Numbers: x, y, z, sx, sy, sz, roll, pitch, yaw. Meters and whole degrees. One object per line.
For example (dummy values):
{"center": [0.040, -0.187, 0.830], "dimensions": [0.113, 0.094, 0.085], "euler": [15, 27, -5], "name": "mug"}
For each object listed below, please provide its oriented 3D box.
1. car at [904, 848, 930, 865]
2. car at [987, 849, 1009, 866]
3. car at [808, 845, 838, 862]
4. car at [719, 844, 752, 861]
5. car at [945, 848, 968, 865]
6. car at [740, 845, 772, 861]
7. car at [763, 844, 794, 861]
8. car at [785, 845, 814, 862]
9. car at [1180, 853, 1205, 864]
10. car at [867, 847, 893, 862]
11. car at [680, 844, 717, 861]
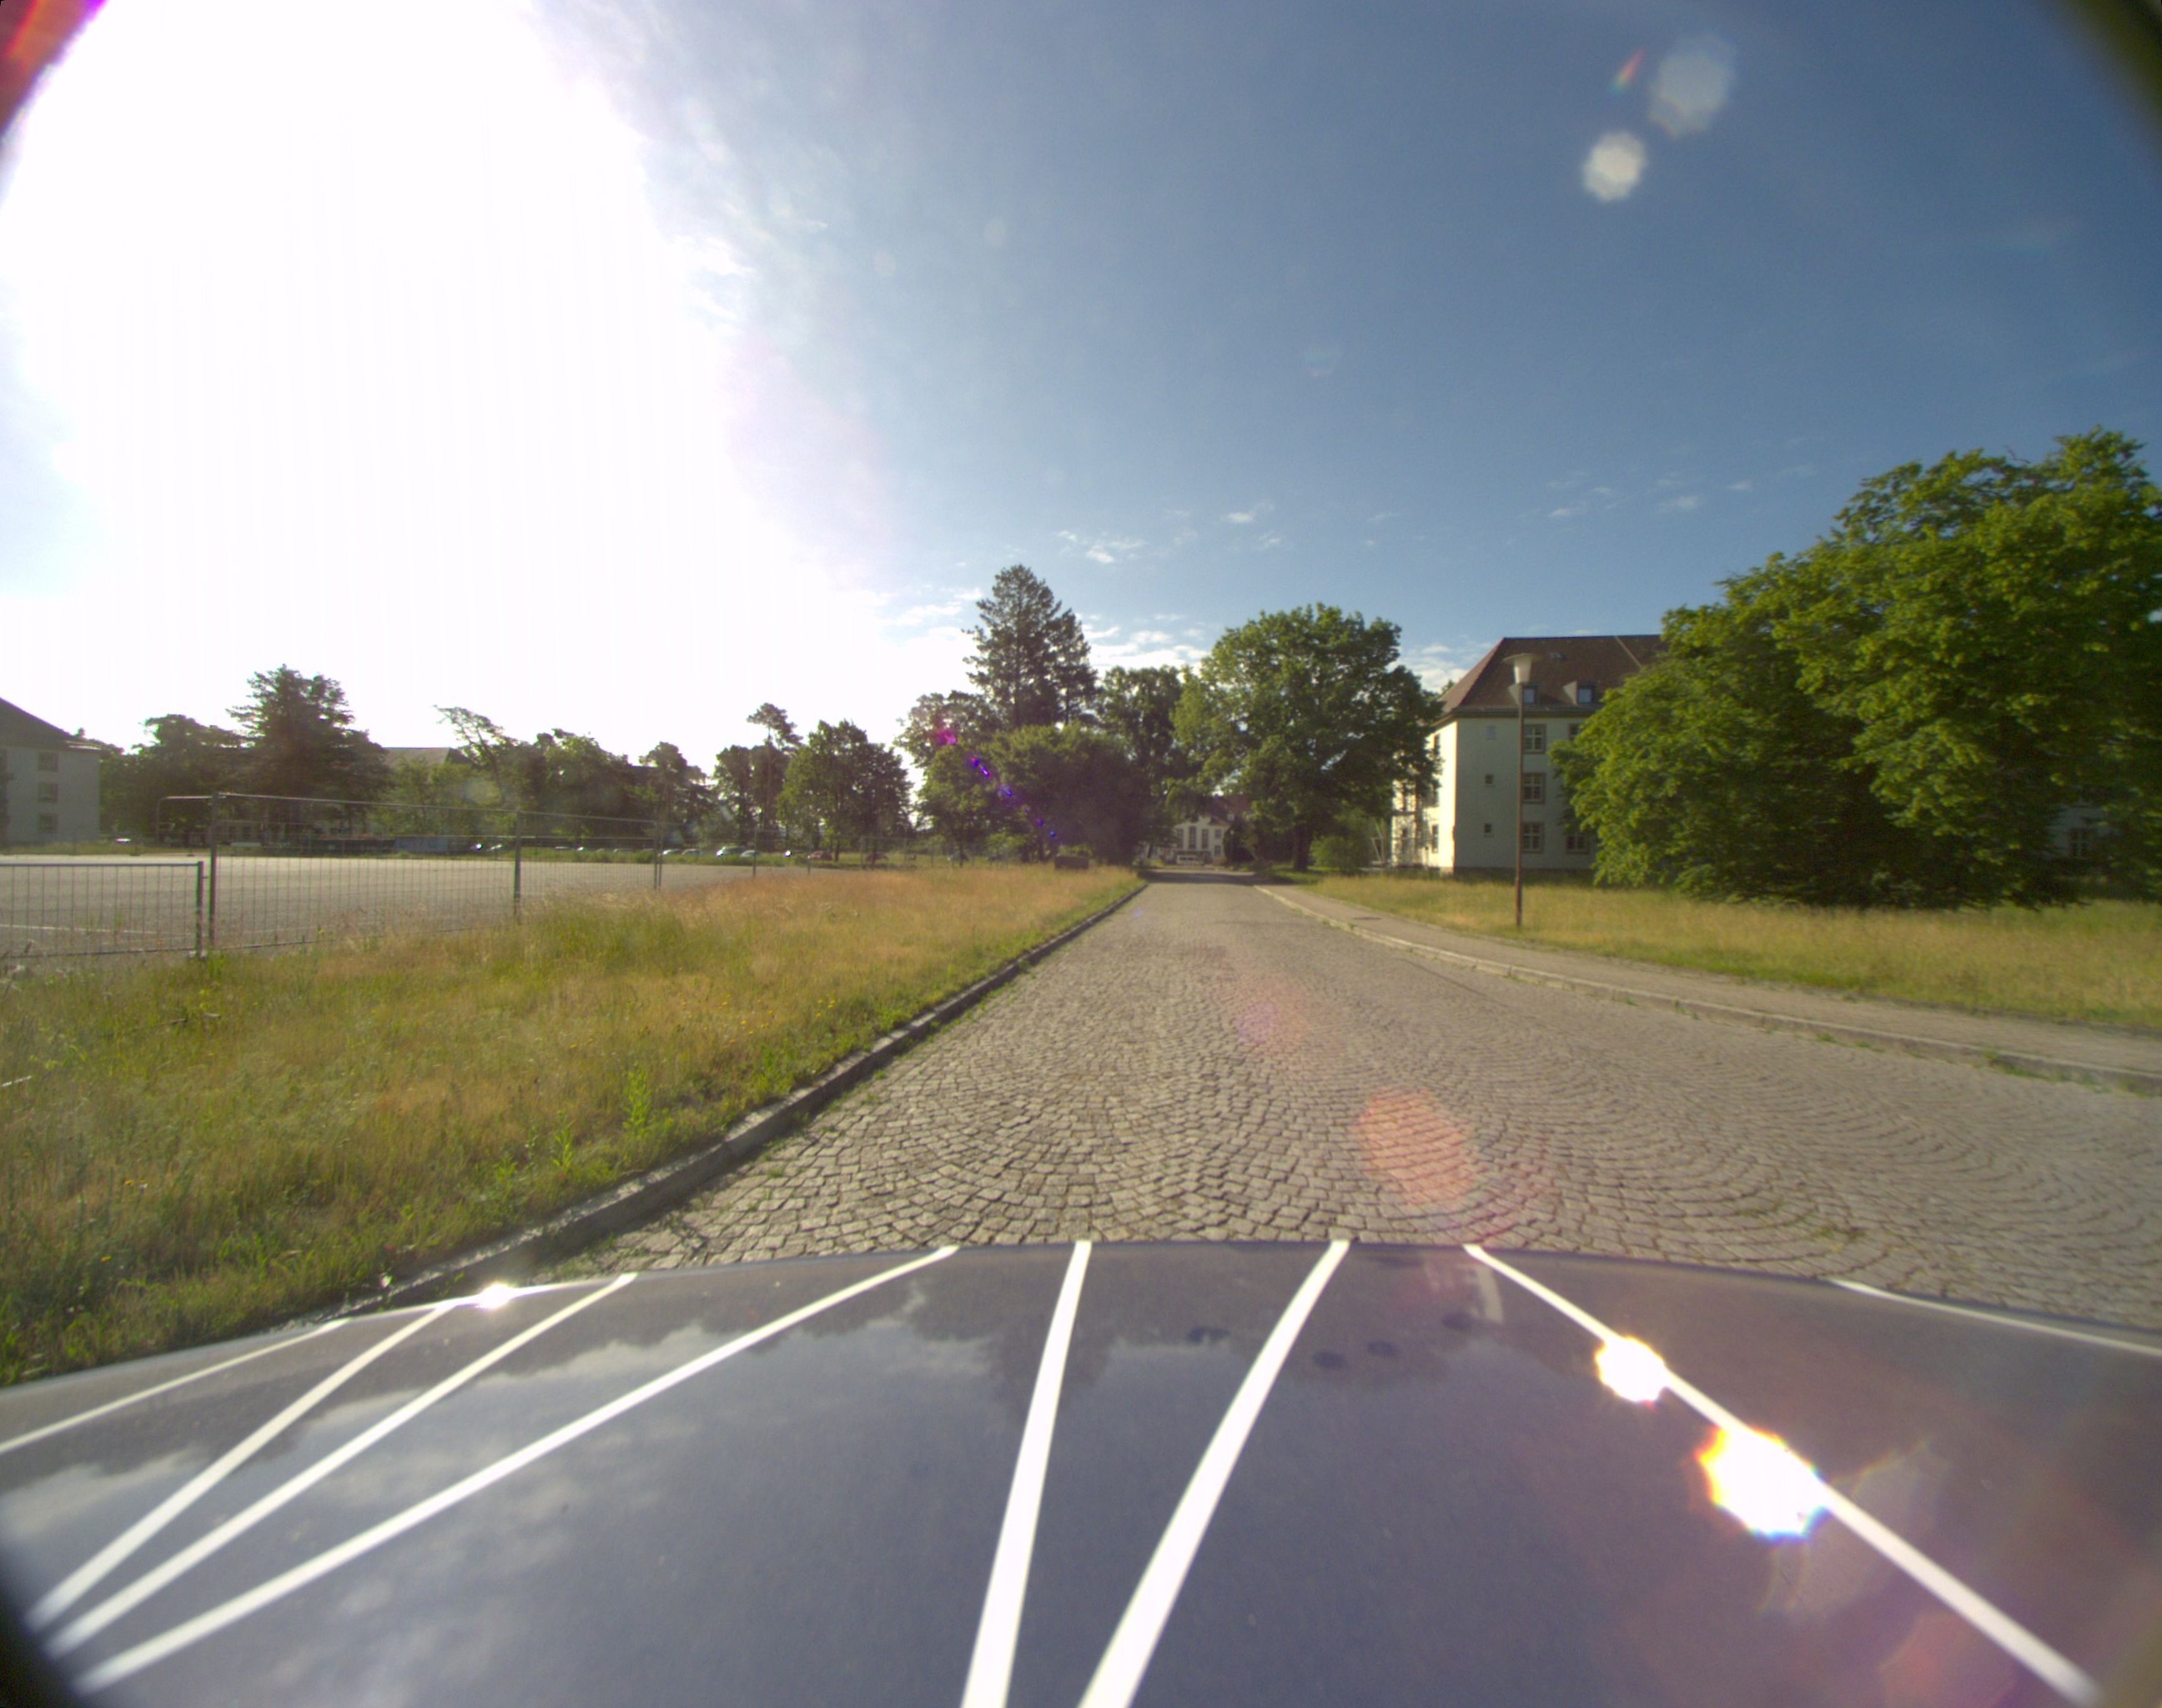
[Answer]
{"center": [-20.112, 0.264, 93.401], "dimensions": [1.997, 2.002, 4.002], "euler": [1, 0, 6], "name": "car"}
{"center": [-9.954, 0.444, 91.110], "dimensions": [1.998, 2.002, 4.000], "euler": [1, 0, 2], "name": "car"}
{"center": [-32.139, -0.021, 94.771], "dimensions": [1.997, 2.002, 4.002], "euler": [1, 0, 7], "name": "car"}
{"center": [-43.626, -0.159, 95.977], "dimensions": [1.997, 2.002, 4.002], "euler": [1, 0, 6], "name": "car"}
{"center": [-15.046, 0.313, 92.055], "dimensions": [1.998, 2.002, 4.000], "euler": [1, 0, 2], "name": "car"}
{"center": [-41.116, -0.182, 96.167], "dimensions": [1.997, 1.936, 4.002], "euler": [1, 0, 6], "name": "car"}
{"center": [-38.575, -0.175, 96.966], "dimensions": [1.997, 2.002, 4.003], "euler": [1, 0, 8], "name": "car"}
{"center": [-35.108, -0.062, 94.863], "dimensions": [1.999, 2.002, 4.000], "euler": [1, 0, 0], "name": "car"}
{"center": [21.927, 0.815, 149.747], "dimensions": [4.867, 2.083, 2.001], "euler": [1, 0, 8], "name": "car"}
{"center": [-24.759, 0.082, 93.660], "dimensions": [1.998, 1.805, 4.000], "euler": [1, 0, 2], "name": "car"}
{"center": [-48.844, -0.176, 97.157], "dimensions": [1.996, 2.002, 4.004], "euler": [-2, 0, 15], "name": "car"}
